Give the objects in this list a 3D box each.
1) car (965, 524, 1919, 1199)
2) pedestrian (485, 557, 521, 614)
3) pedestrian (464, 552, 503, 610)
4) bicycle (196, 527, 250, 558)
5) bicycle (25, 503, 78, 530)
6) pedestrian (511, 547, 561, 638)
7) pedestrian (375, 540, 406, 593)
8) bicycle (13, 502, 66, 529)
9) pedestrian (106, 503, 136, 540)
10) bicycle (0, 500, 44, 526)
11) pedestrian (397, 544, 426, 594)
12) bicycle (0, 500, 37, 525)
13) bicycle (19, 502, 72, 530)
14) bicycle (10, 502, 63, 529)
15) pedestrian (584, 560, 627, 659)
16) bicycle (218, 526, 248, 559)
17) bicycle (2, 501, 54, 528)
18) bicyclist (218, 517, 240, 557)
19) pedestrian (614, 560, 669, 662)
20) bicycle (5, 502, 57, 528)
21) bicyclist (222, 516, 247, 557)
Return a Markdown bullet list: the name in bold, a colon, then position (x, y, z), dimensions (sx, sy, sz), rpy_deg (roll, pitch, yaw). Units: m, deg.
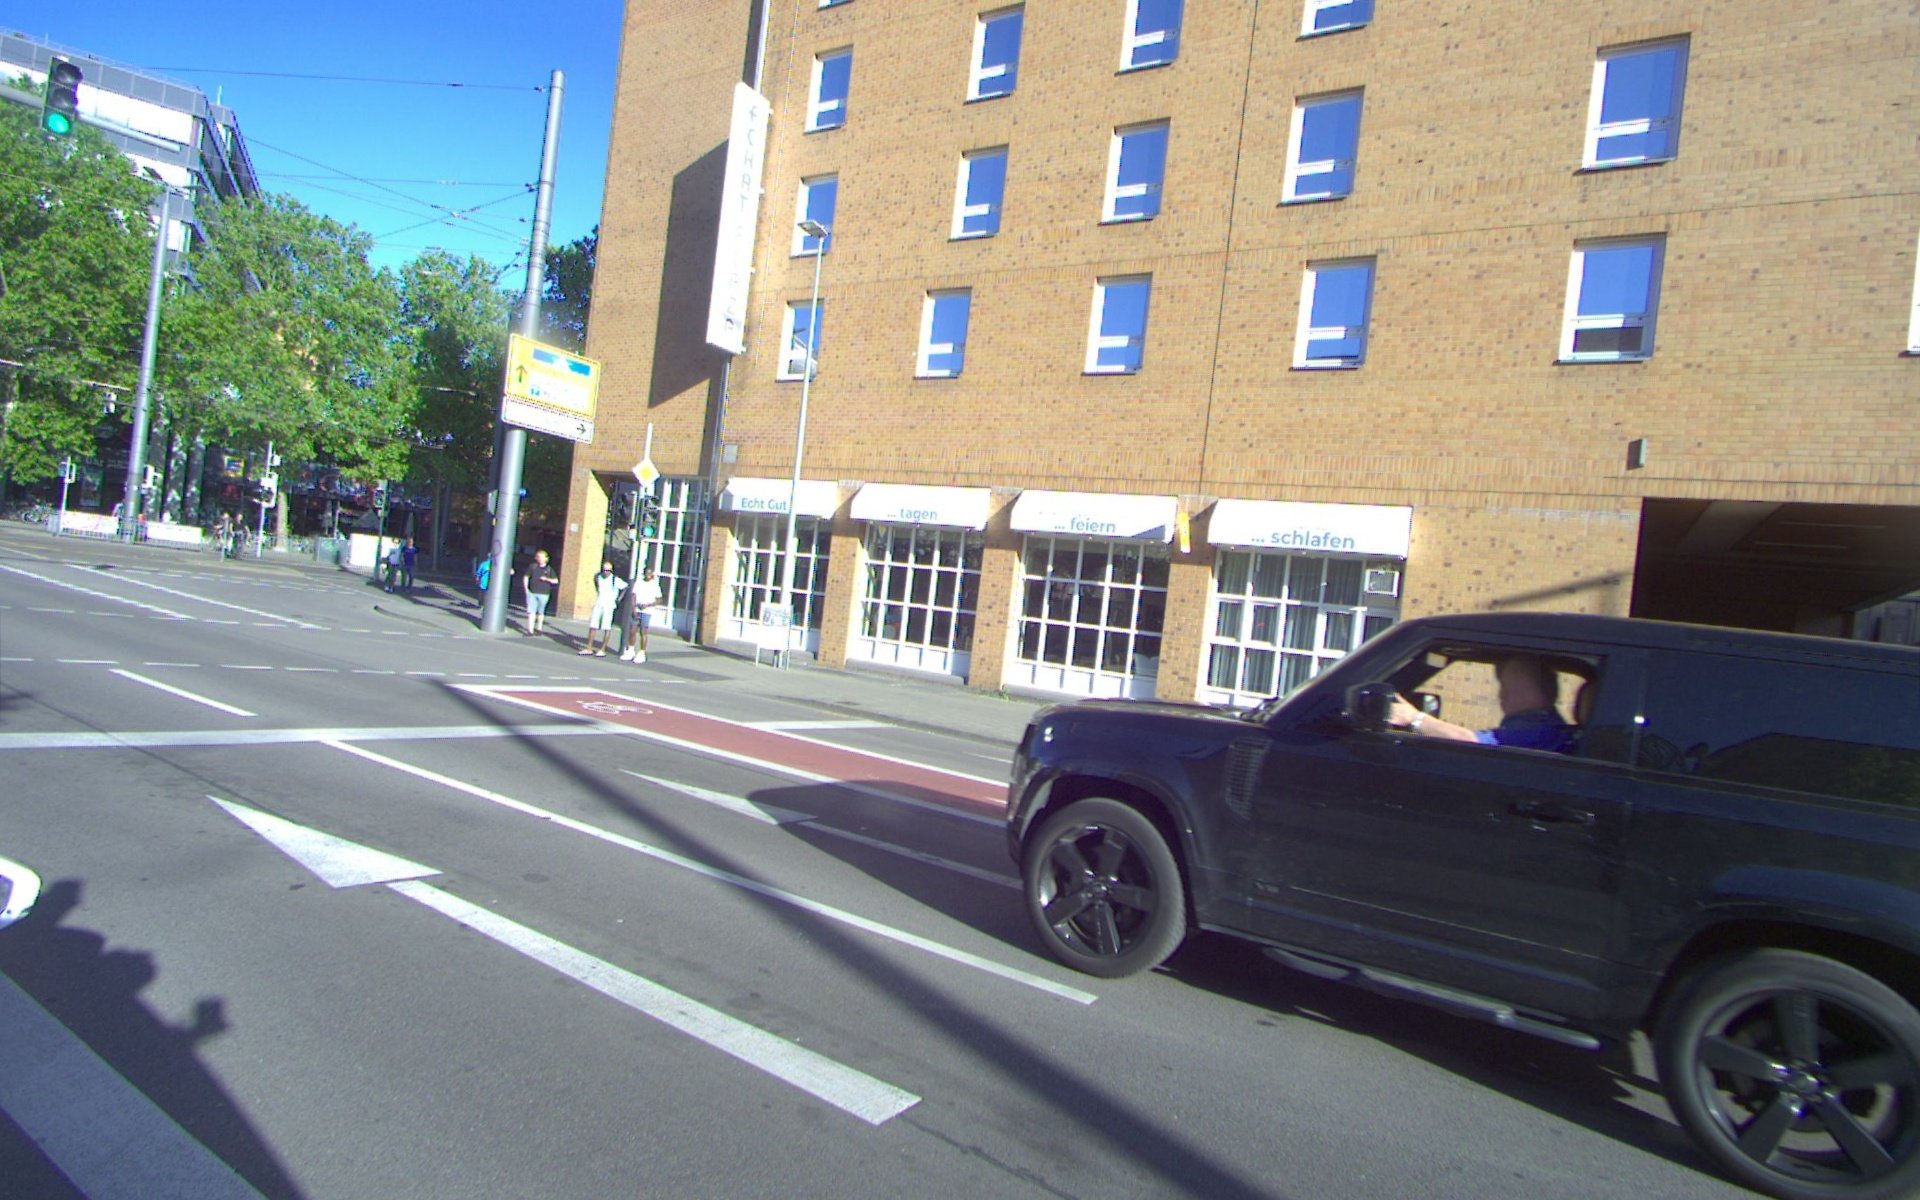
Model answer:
- **car**: position (2.566, 0.956, 4.678), dimensions (4.397, 1.937, 2.164), rpy_deg (8, -1, 31)
- **pedestrian**: position (-12.616, -0.391, 27.774), dimensions (0.543, 1.495, 0.593), rpy_deg (6, 0, 32)
- **pedestrian**: position (-12.753, -0.504, 26.938), dimensions (0.591, 1.470, 0.593), rpy_deg (6, 0, 32)
- **bicycle**: position (-36.330, -2.820, 49.596), dimensions (0.414, 1.228, 2.046), rpy_deg (6, -2, 32)
- **bicycle**: position (-45.967, -4.215, 50.935), dimensions (0.354, 1.058, 1.884), rpy_deg (6, -2, 31)
- **pedestrian**: position (-8.916, -0.152, 21.182), dimensions (0.726, 1.813, 0.510), rpy_deg (7, -1, -19)
- **pedestrian**: position (-17.680, -1.043, 31.230), dimensions (0.563, 1.550, 0.695), rpy_deg (8, -2, -37)
- **bicycle**: position (-47.320, -4.330, 51.725), dimensions (0.354, 1.058, 1.884), rpy_deg (6, -2, 31)
- **pedestrian**: position (-43.090, -4.013, 51.667), dimensions (0.747, 1.724, 0.834), rpy_deg (6, -1, 32)
- **bicycle**: position (-49.255, -4.548, 52.634), dimensions (0.354, 1.058, 1.885), rpy_deg (7, -2, 31)
- **pedestrian**: position (-17.236, -0.976, 31.615), dimensions (0.563, 1.496, 0.695), rpy_deg (8, -2, -37)
- **bicycle**: position (-50.198, -4.652, 53.254), dimensions (0.354, 1.058, 1.885), rpy_deg (7, -2, 31)
- **bicycle**: position (-46.640, -4.274, 51.305), dimensions (0.354, 1.058, 1.884), rpy_deg (6, -2, 31)
- **bicycle**: position (-47.765, -4.362, 52.047), dimensions (0.354, 1.058, 1.884), rpy_deg (7, -2, 31)
- **pedestrian**: position (-6.725, 0.177, 19.081), dimensions (0.586, 1.802, 0.678), rpy_deg (6, 1, -22)
- **bicycle**: position (-28.564, -2.263, 39.520), dimensions (0.564, 1.192, 2.302), rpy_deg (8, -2, -43)
- **bicycle**: position (-48.713, -4.473, 52.591), dimensions (0.354, 1.058, 1.885), rpy_deg (7, -2, 31)
- **bicyclist**: position (-36.177, -3.107, 49.791), dimensions (0.396, 1.859, 0.585), rpy_deg (6, -1, 31)
- **pedestrian**: position (-5.920, 0.209, 18.737), dimensions (0.583, 1.802, 0.682), rpy_deg (6, 0, 6)
- **bicycle**: position (-48.307, -4.419, 52.345), dimensions (0.354, 1.058, 1.884), rpy_deg (6, -2, 31)
- **bicyclist**: position (-28.496, -2.493, 39.507), dimensions (0.563, 1.536, 0.626), rpy_deg (8, -2, -43)
